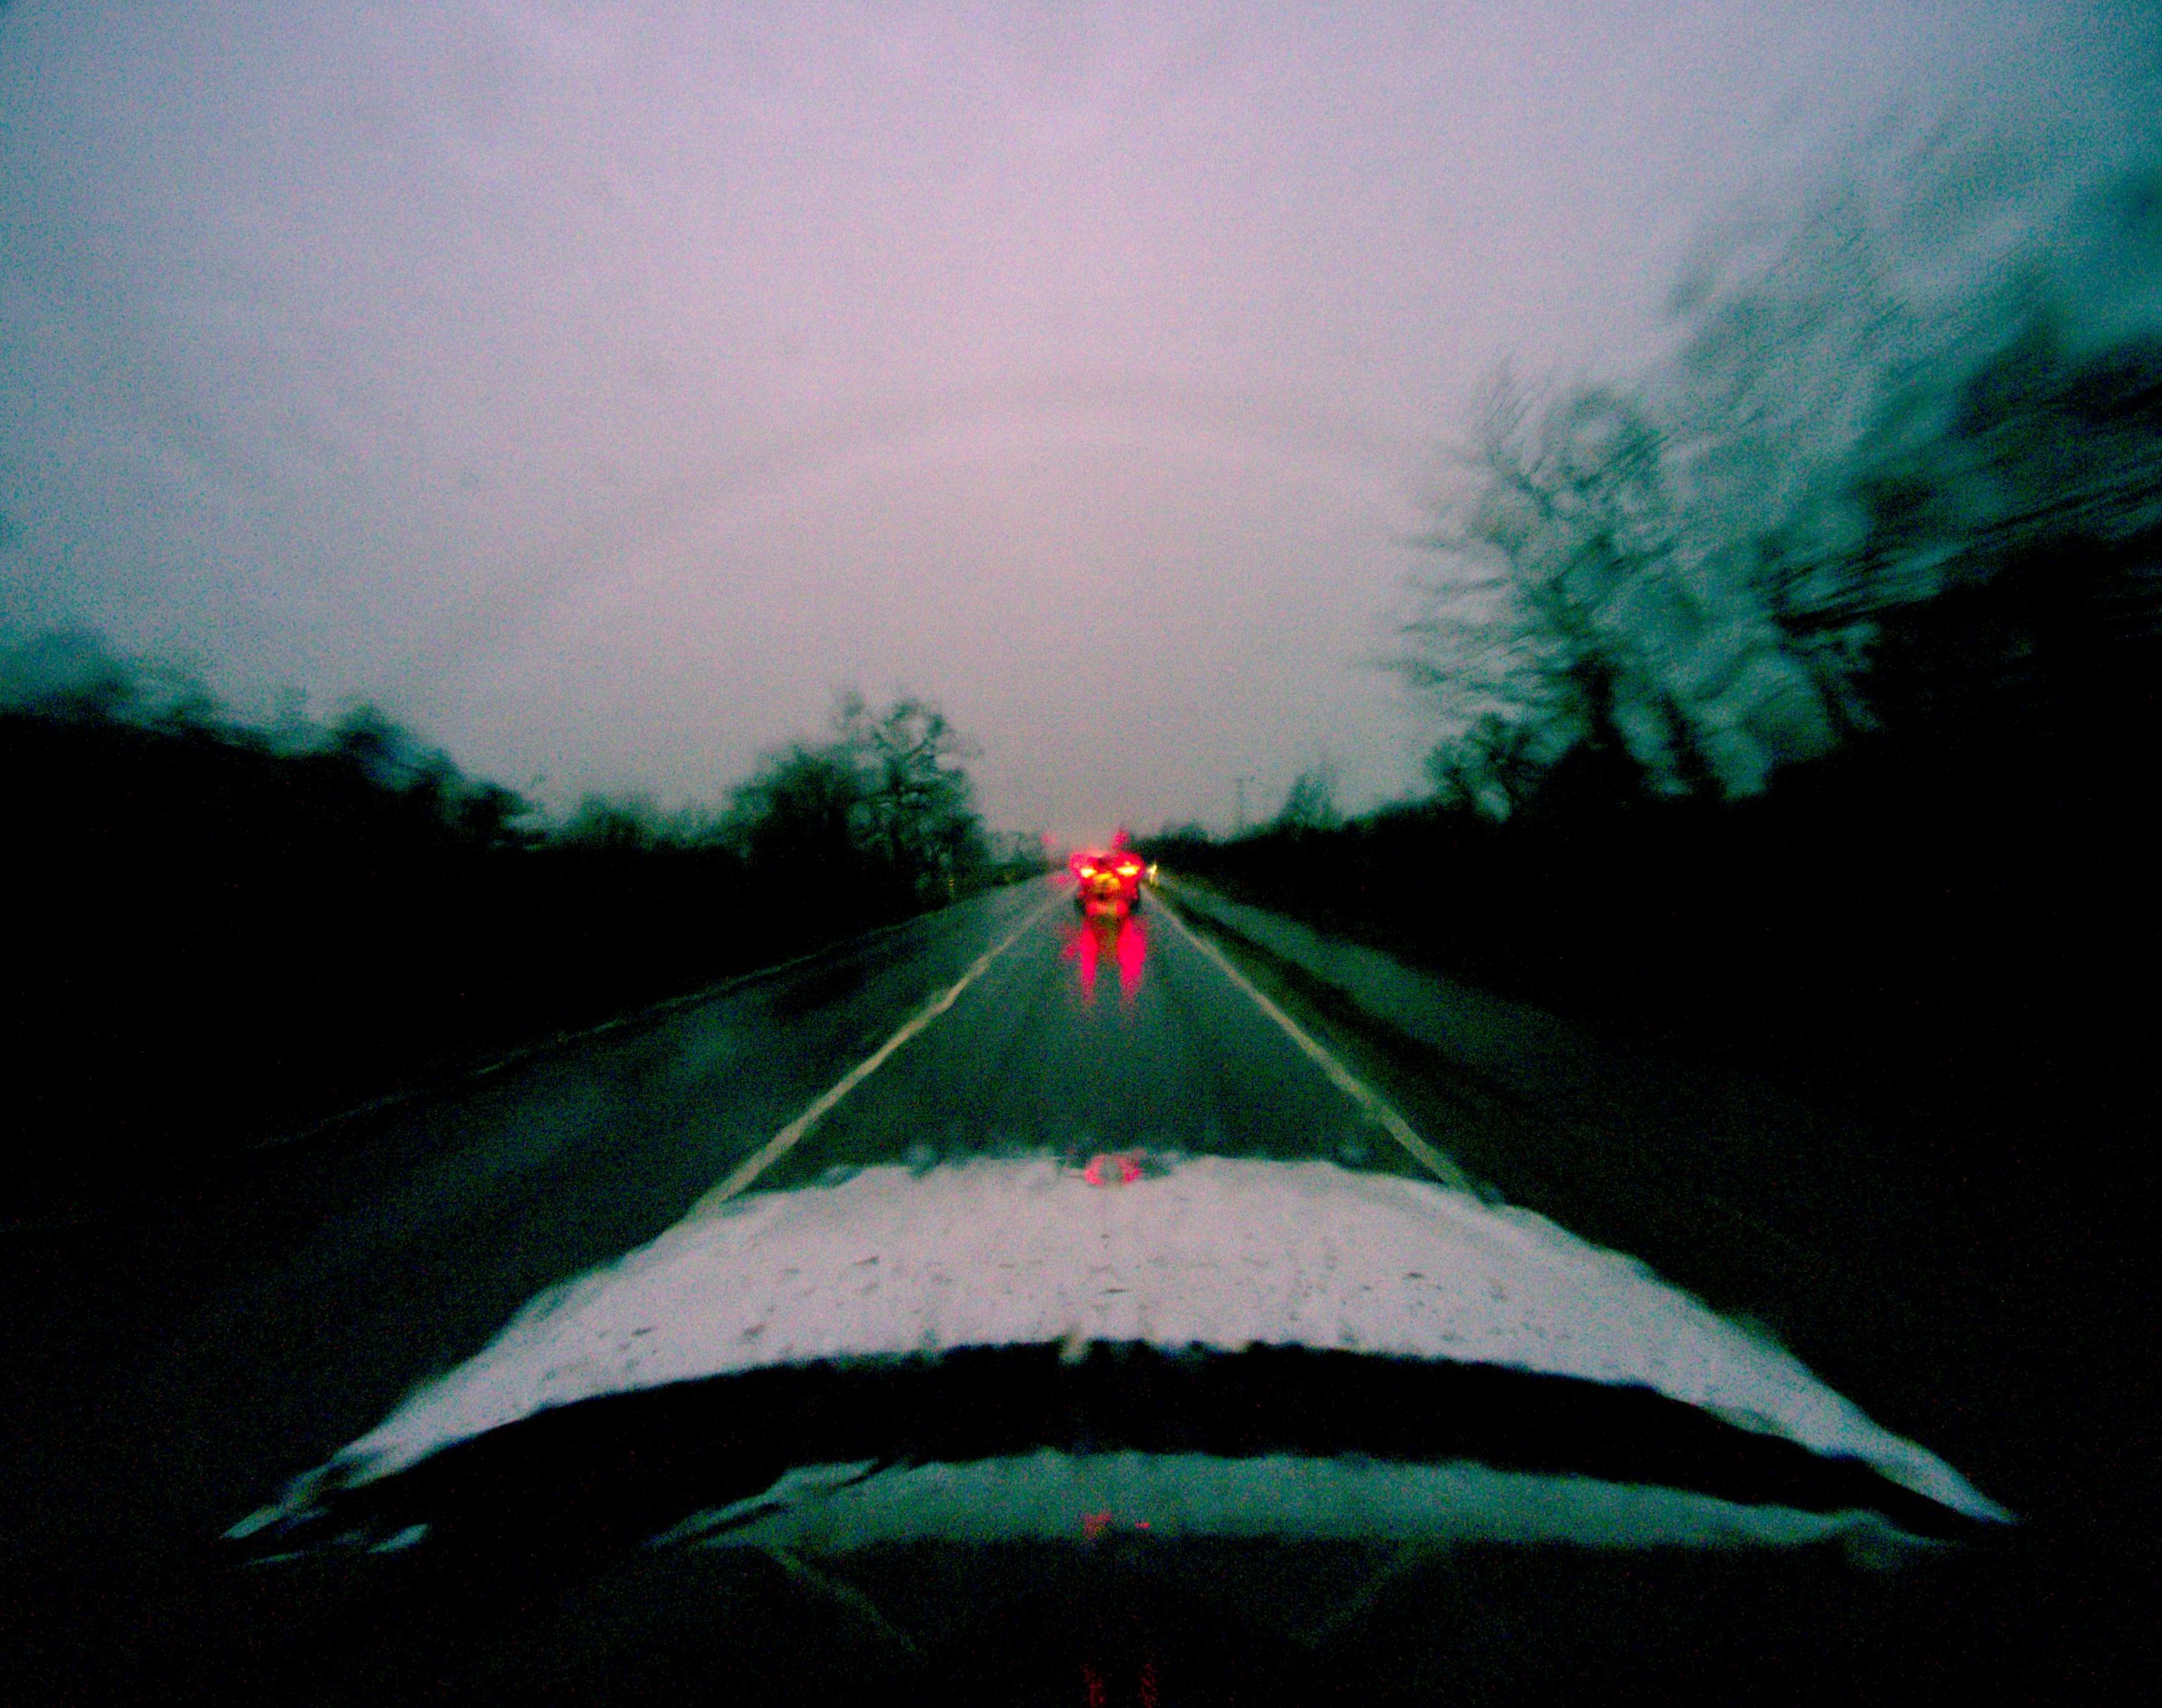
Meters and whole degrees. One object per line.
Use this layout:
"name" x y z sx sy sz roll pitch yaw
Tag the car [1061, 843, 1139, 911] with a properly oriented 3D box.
"car" 0.607 0.626 24.852 2.112 1.820 4.982 -1 0 2
